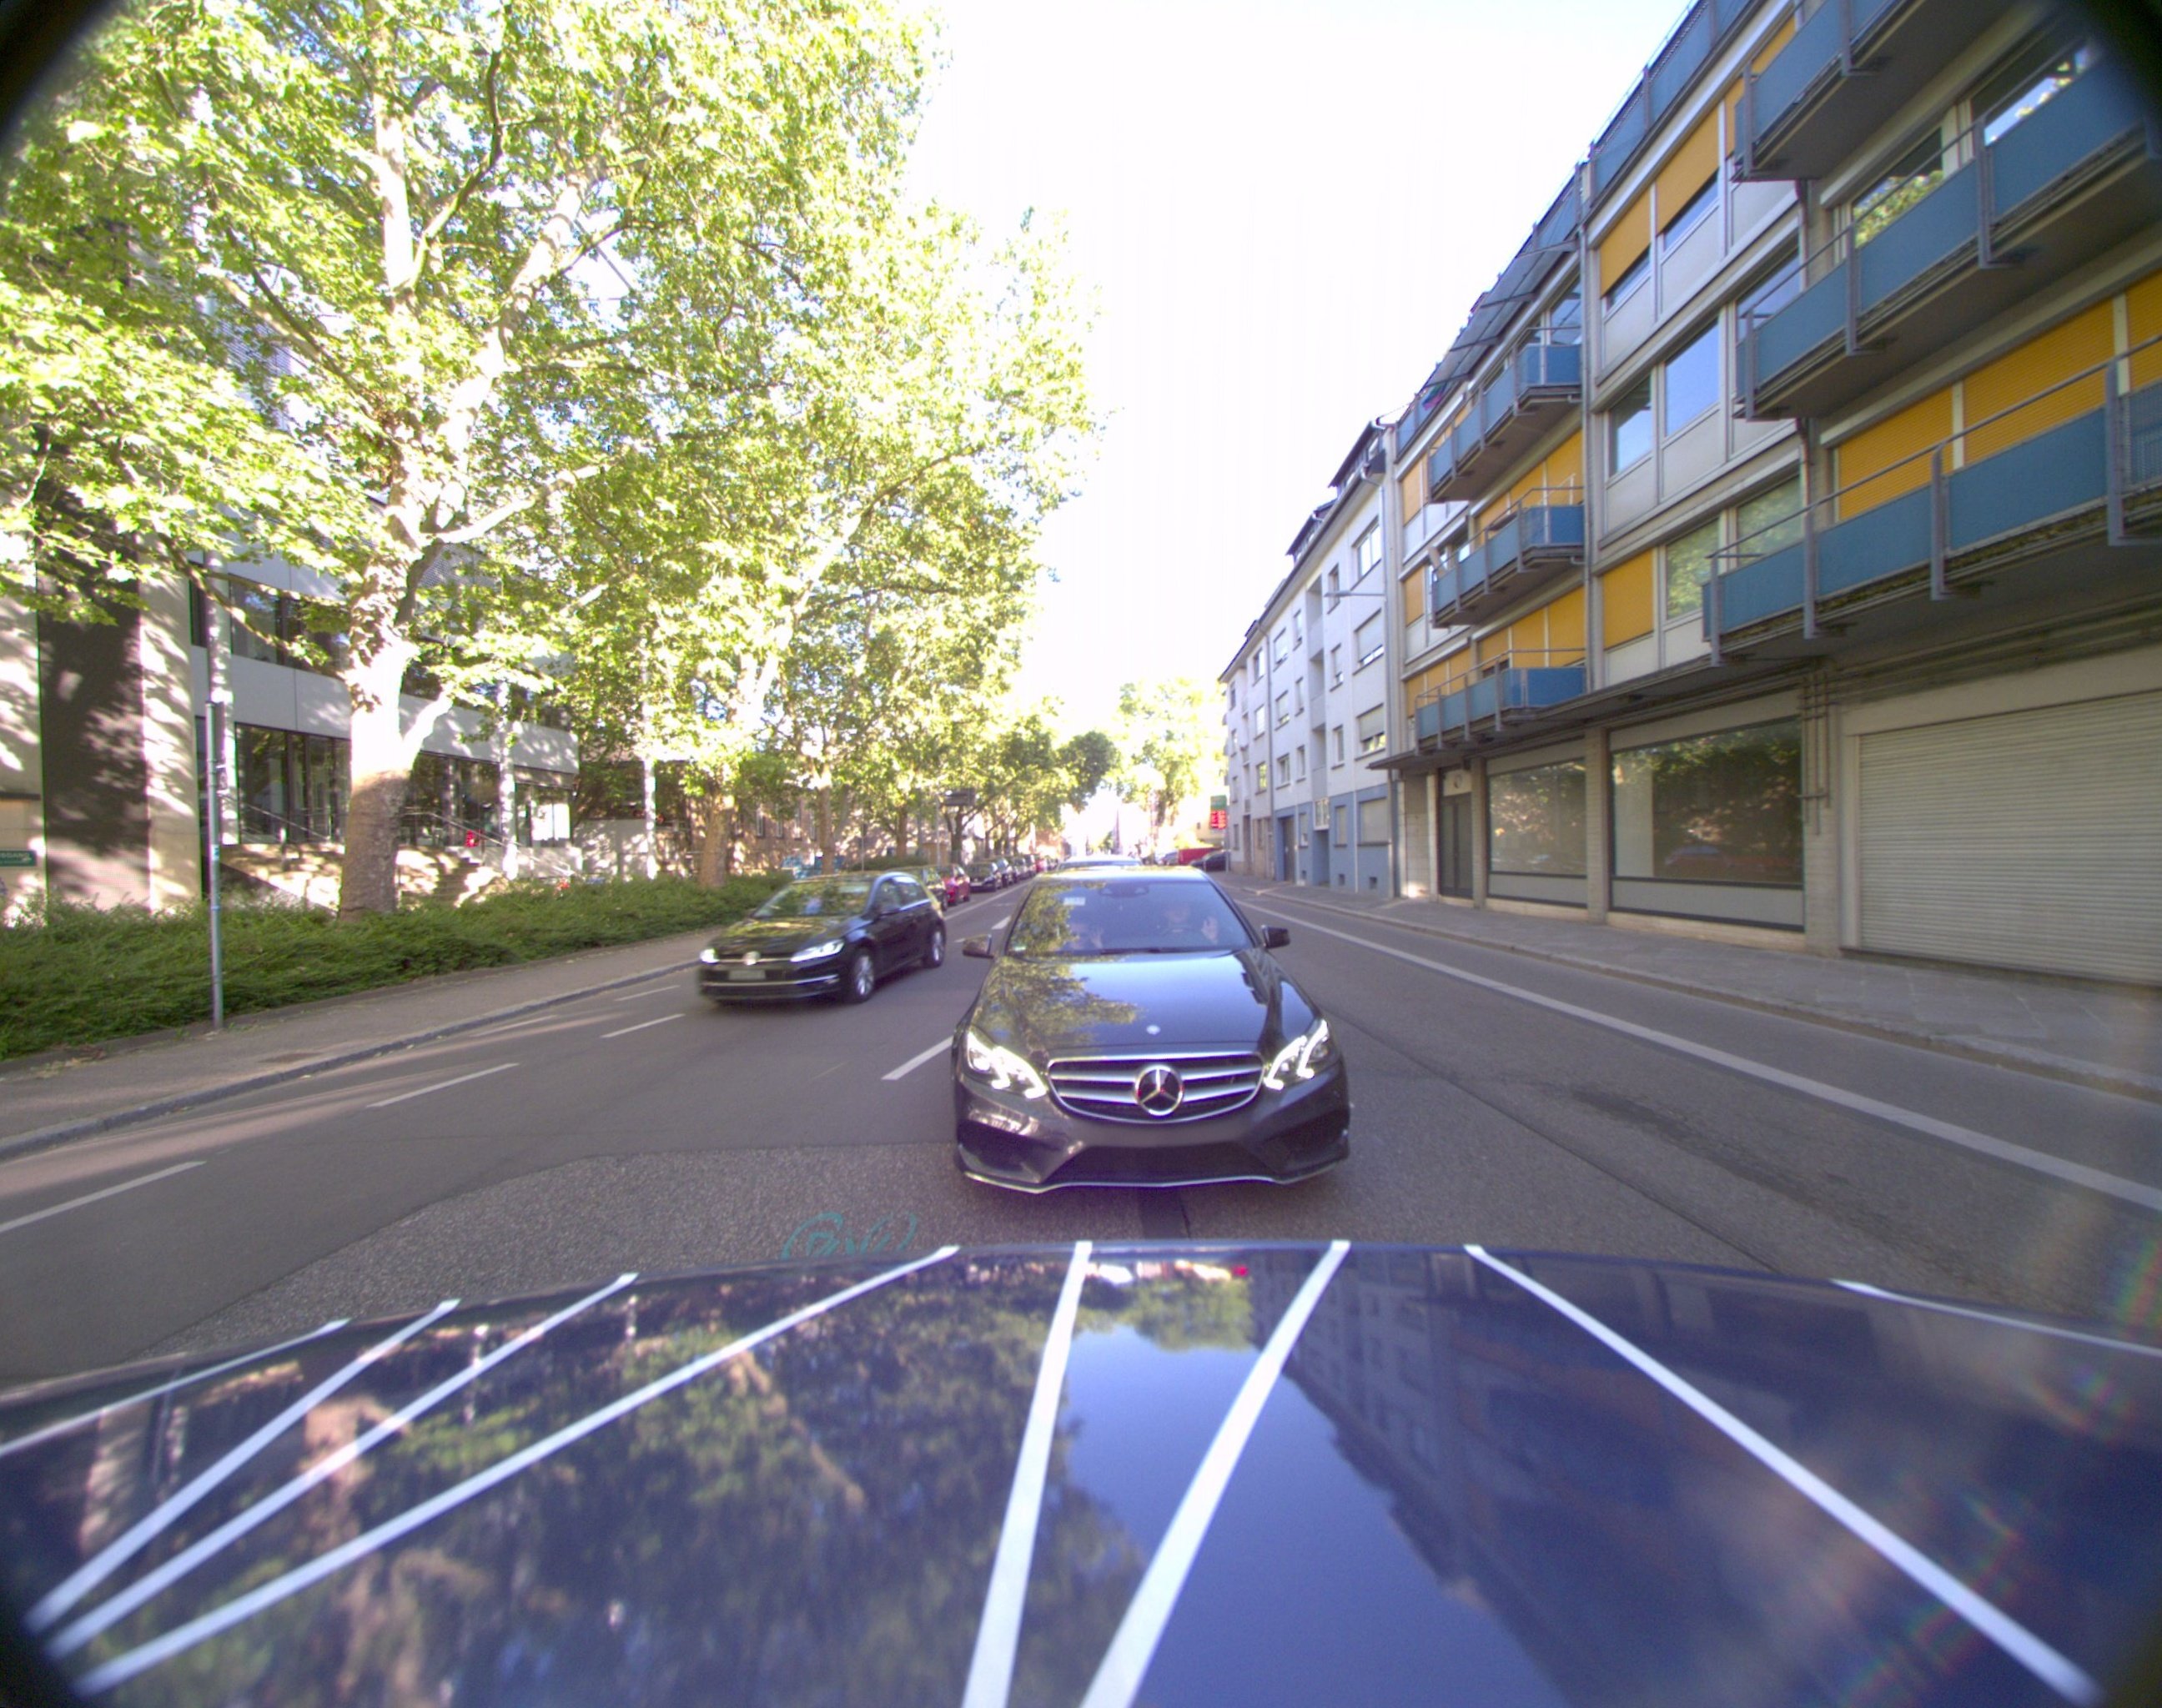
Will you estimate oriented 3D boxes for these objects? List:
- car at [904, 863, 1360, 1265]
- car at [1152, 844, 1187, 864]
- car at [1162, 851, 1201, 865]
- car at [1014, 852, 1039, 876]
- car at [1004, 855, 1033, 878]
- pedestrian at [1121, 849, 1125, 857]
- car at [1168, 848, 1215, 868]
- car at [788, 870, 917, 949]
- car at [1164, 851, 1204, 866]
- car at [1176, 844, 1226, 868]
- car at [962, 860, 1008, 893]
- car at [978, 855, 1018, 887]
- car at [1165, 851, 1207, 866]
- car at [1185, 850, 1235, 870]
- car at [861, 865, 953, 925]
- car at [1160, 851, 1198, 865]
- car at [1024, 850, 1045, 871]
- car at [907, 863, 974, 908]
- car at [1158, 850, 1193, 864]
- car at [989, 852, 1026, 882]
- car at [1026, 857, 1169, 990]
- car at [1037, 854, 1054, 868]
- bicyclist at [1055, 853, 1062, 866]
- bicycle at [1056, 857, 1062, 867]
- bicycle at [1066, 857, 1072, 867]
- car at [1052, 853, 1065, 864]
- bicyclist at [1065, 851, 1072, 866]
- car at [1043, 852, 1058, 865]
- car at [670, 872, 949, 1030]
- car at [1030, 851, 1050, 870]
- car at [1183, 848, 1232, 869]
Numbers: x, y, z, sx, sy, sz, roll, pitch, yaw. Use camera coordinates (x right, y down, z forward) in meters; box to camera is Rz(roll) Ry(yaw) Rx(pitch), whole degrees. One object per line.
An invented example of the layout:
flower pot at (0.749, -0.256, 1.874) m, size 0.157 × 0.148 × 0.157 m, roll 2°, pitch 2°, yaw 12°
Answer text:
car at (0.208, 0.896, 5.282) m, size 1.828 × 1.495 × 4.293 m, roll -2°, pitch 1°, yaw 0°
car at (10.397, 0.025, 89.308) m, size 3.905 × 2.164 × 1.725 m, roll -2°, pitch 1°, yaw 2°
car at (10.516, 0.428, 79.741) m, size 3.905 × 1.325 × 1.525 m, roll -2°, pitch 1°, yaw 2°
car at (-4.221, 0.751, 59.368) m, size 1.663 × 1.704 × 3.836 m, roll -2°, pitch 0°, yaw 0°
car at (-4.430, 0.873, 54.512) m, size 1.686 × 1.552 × 3.868 m, roll -2°, pitch 0°, yaw 0°
pedestrian at (11.187, -0.329, 202.941) m, size 0.882 × 2.108 × 0.822 m, roll -1°, pitch 1°, yaw 32°
car at (9.712, 0.331, 66.774) m, size 3.905 × 1.577 × 1.603 m, roll -2°, pitch 1°, yaw 2°
car at (-5.136, 1.188, 17.660) m, size 1.724 × 1.412 × 4.030 m, roll -4°, pitch 0°, yaw -1°
car at (10.400, 0.429, 76.987) m, size 3.905 × 1.366 × 1.594 m, roll -2°, pitch 1°, yaw 2°
car at (10.070, 0.166, 63.979) m, size 3.905 × 1.895 × 1.749 m, roll -2°, pitch 1°, yaw 2°
car at (-4.670, 1.046, 37.403) m, size 1.686 × 1.443 × 4.000 m, roll -2°, pitch 0°, yaw 0°
car at (-4.541, 0.906, 42.063) m, size 1.686 × 1.610 × 3.836 m, roll -2°, pitch 0°, yaw 0°
car at (10.369, 0.452, 74.965) m, size 3.905 × 1.366 × 1.594 m, roll -2°, pitch 1°, yaw 2°
car at (9.956, 0.458, 58.729) m, size 3.598 × 1.401 × 1.534 m, roll -2°, pitch 0°, yaw 2°
car at (-5.017, 1.127, 22.418) m, size 1.686 × 1.458 × 4.000 m, roll -3°, pitch 0°, yaw 0°
car at (10.526, 0.401, 82.130) m, size 3.905 × 1.325 × 1.525 m, roll -2°, pitch 1°, yaw 2°
car at (-4.256, 0.587, 70.226) m, size 1.646 × 1.839 × 3.836 m, roll -2°, pitch 0°, yaw 0°
car at (-5.013, 1.092, 27.603) m, size 1.666 × 1.426 × 3.781 m, roll -2°, pitch 0°, yaw 0°
car at (10.537, 0.333, 84.815) m, size 3.782 × 1.432 × 1.539 m, roll -2°, pitch 1°, yaw 2°
car at (-4.598, 0.770, 48.189) m, size 1.819 × 1.758 × 4.431 m, roll -2°, pitch 0°, yaw 0°
car at (0.201, 0.880, 11.658) m, size 1.732 × 1.538 × 4.293 m, roll -2°, pitch 1°, yaw 0°
car at (-4.056, 0.743, 87.062) m, size 1.639 × 1.493 × 3.752 m, roll -2°, pitch 0°, yaw 0°
bicyclist at (-2.528, 0.616, 86.909) m, size 0.756 × 1.512 × 0.768 m, roll -2°, pitch 1°, yaw -1°
bicycle at (-2.505, 0.948, 86.868) m, size 0.667 × 1.093 × 1.814 m, roll -2°, pitch 1°, yaw 0°
bicycle at (-1.363, 0.937, 87.640) m, size 0.667 × 1.093 × 1.814 m, roll -2°, pitch 1°, yaw 0°
car at (-3.132, 0.647, 106.828) m, size 1.686 × 1.475 × 3.836 m, roll -2°, pitch 0°, yaw 0°
bicyclist at (-1.415, 0.539, 87.627) m, size 0.756 × 1.714 × 0.768 m, roll -2°, pitch 1°, yaw -1°
car at (-3.794, 0.595, 95.685) m, size 1.686 × 1.546 × 3.836 m, roll -2°, pitch 0°, yaw 0°
car at (-3.096, 1.040, 9.616) m, size 1.693 × 1.432 × 3.904 m, roll -2°, pitch 0°, yaw 7°
car at (-4.102, 0.633, 76.017) m, size 1.686 × 1.749 × 3.836 m, roll -2°, pitch 0°, yaw 0°
car at (10.125, 0.358, 61.134) m, size 3.668 × 1.501 × 1.602 m, roll -2°, pitch 1°, yaw 2°
